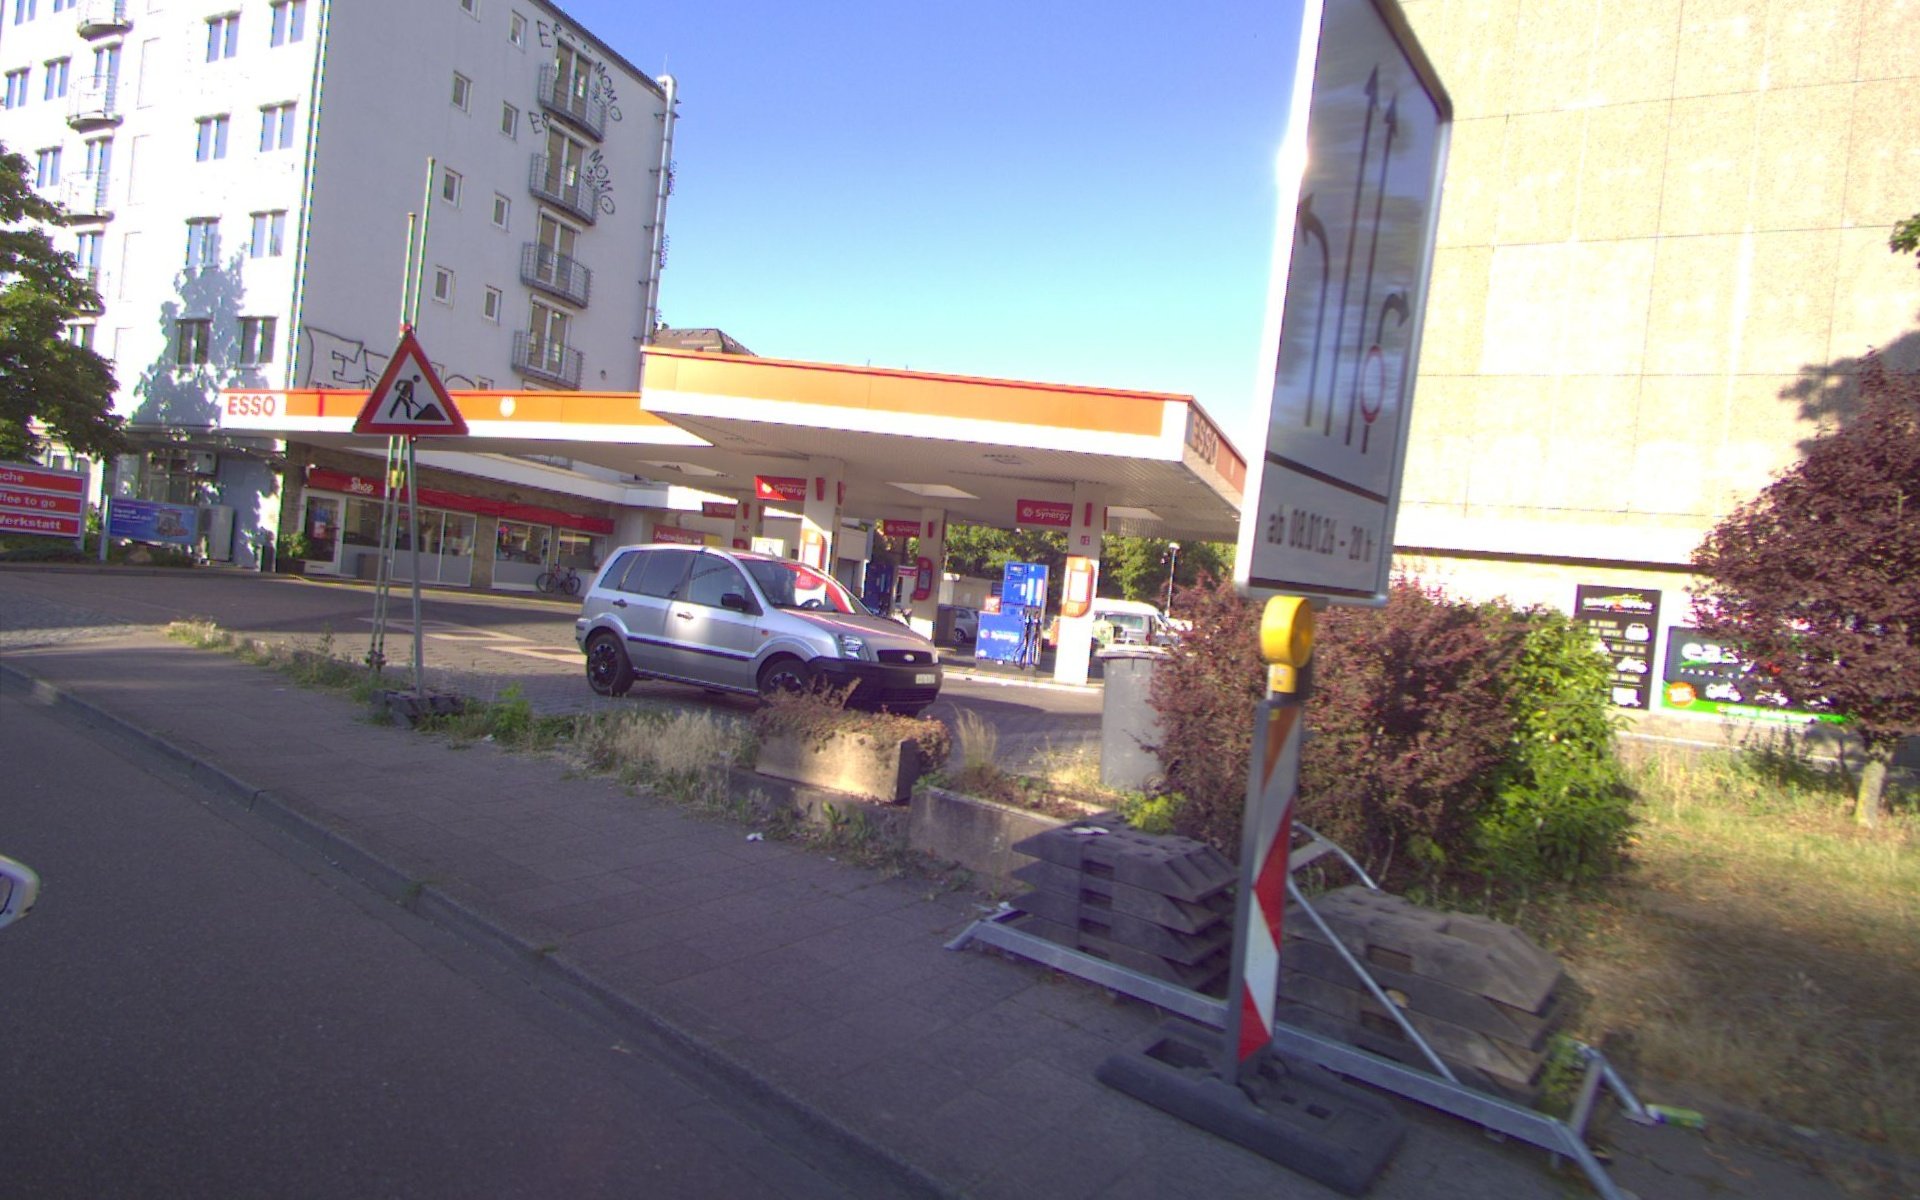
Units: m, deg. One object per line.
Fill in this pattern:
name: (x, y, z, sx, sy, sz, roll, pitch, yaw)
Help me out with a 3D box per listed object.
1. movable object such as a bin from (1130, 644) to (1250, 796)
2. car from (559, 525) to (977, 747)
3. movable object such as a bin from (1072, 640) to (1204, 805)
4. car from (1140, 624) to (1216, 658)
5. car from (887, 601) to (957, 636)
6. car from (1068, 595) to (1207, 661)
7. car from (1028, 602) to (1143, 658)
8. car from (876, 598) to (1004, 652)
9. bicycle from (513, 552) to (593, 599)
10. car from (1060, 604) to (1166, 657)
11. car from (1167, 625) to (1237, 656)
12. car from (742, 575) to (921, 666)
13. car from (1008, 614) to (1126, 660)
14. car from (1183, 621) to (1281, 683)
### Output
movable object such as a bin: (1.770, 0.897, 7.722, 0.662, 1.042, 0.572, 6, 1, 31)
car: (-1.937, 0.259, 9.695, 3.832, 1.613, 1.620, 6, 0, 34)
movable object such as a bin: (1.270, 0.844, 7.144, 0.662, 1.042, 0.572, 6, 1, 31)
car: (12.733, 2.382, 58.838, 3.929, 1.519, 1.827, 6, 0, 26)
car: (-2.431, 1.178, 64.248, 3.929, 1.792, 1.808, 6, 0, 26)
car: (8.688, 1.375, 49.351, 6.190, 2.532, 1.998, 6, 0, 24)
car: (5.257, 1.251, 42.176, 4.219, 1.867, 1.998, 6, 0, 26)
car: (-0.738, 0.895, 36.303, 4.181, 1.438, 1.749, 6, 0, 27)
bicycle: (-13.718, -0.790, 33.995, 0.518, 1.330, 2.810, 6, 0, 25)
car: (6.936, 1.384, 45.614, 4.219, 1.867, 1.998, 6, 0, 26)
car: (15.557, 2.615, 64.732, 3.929, 1.519, 1.827, 6, 0, 26)
car: (-2.530, 0.405, 20.303, 3.240, 1.457, 1.590, 5, 0, 3)
car: (4.189, 1.456, 39.584, 4.181, 1.312, 1.749, 6, 0, 27)
car: (7.990, 1.515, 29.345, 1.964, 1.466, 3.996, 6, 0, 25)
